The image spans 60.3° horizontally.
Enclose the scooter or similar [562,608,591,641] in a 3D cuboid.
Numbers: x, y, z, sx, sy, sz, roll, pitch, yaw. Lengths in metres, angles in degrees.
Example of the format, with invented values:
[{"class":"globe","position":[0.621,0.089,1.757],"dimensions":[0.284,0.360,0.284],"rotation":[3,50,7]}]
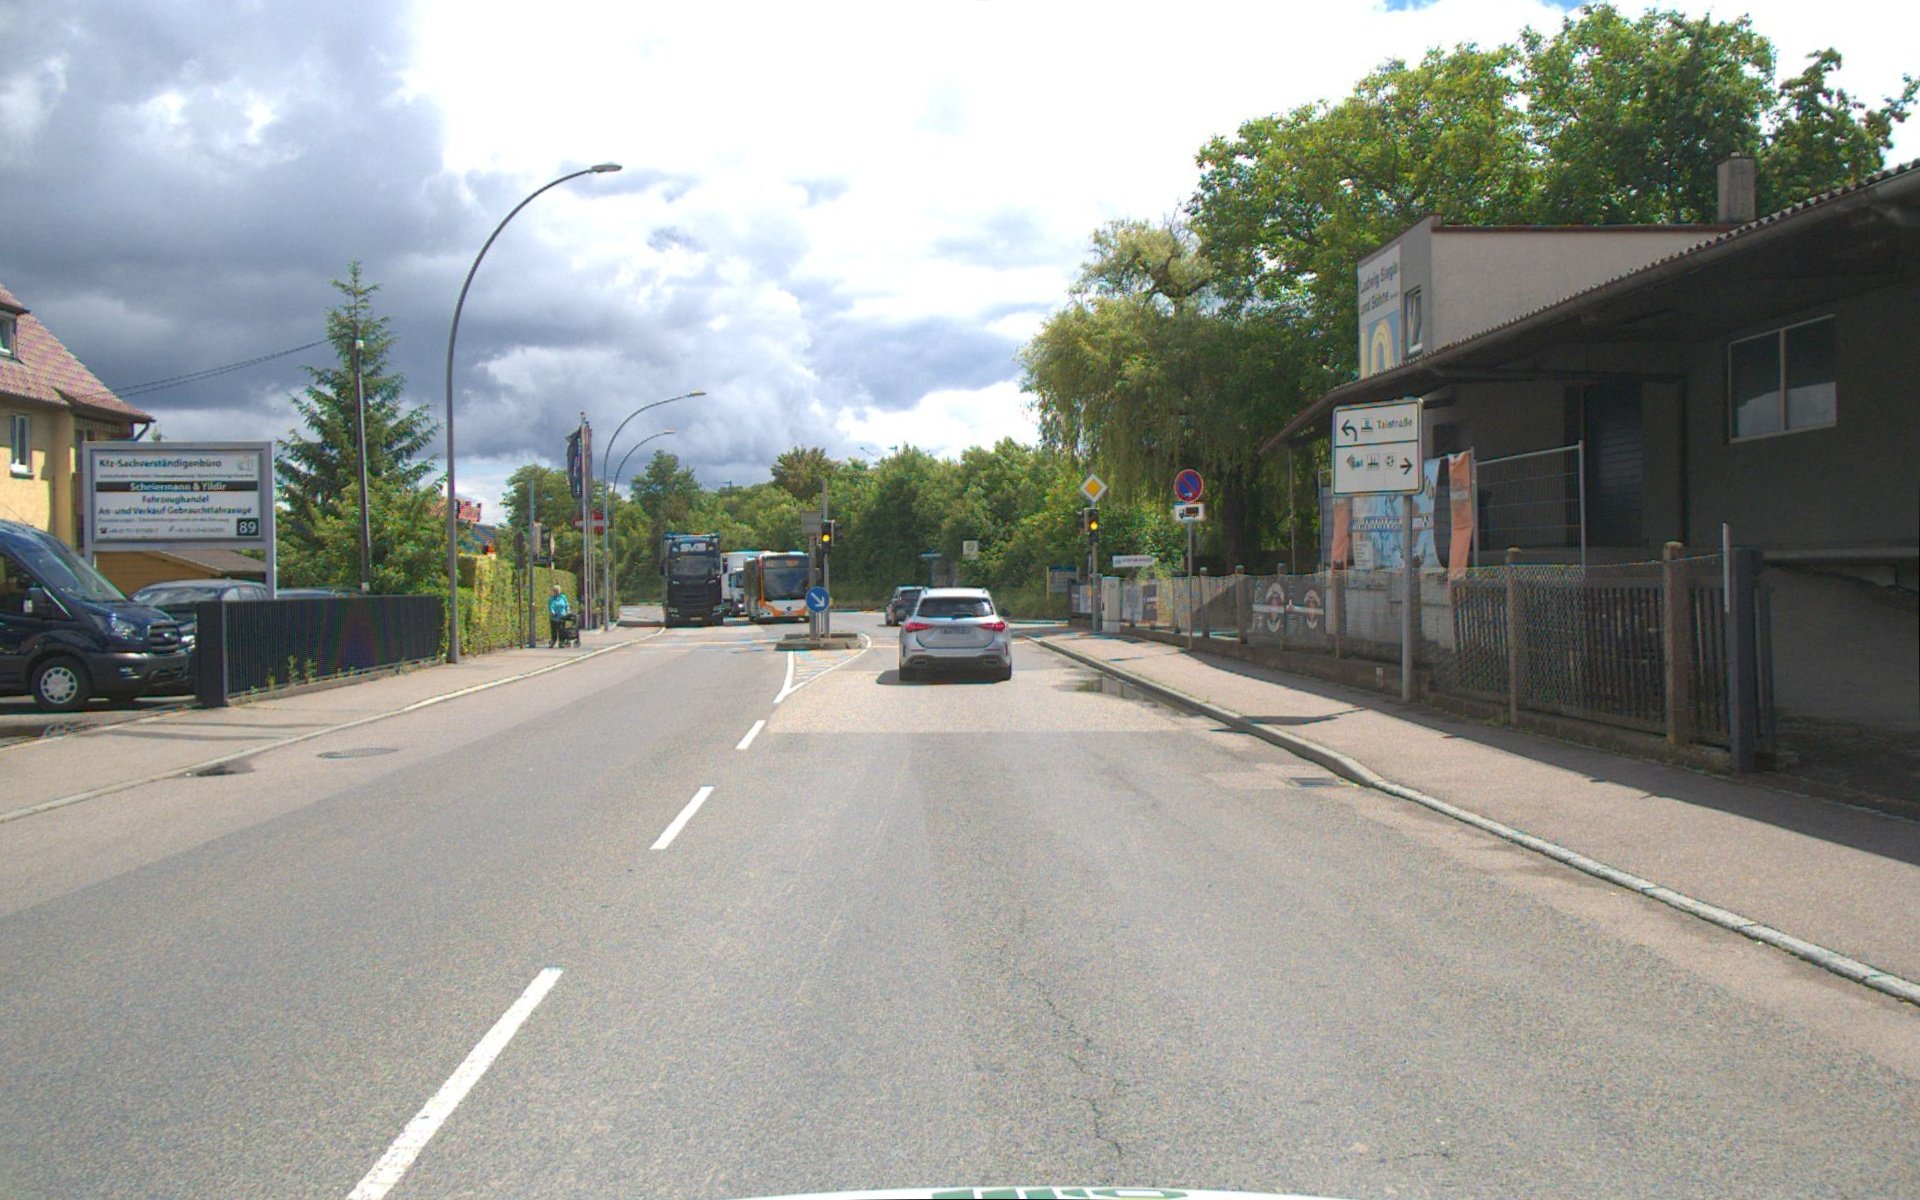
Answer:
[{"class":"scooter or similar","position":[-9.897,0.628,42.676],"dimensions":[0.599,0.846,0.659],"rotation":[1,1,-3]}]

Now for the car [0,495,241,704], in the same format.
[{"class":"car","position":[-12.944,0.017,21.646],"dimensions":[5.917,2.540,2.476],"rotation":[-1,1,-3]}]

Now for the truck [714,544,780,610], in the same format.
[{"class":"truck","position":[-12.472,-1.311,96.172],"dimensions":[2.791,3.602,9.691],"rotation":[-1,1,-13]}]

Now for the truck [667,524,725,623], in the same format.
[{"class":"truck","position":[-11.993,-1.162,75.483],"dimensions":[2.384,4.203,9.132],"rotation":[1,0,-8]}]

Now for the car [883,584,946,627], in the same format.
[{"class":"car","position":[-1.735,0.178,61.924],"dimensions":[1.850,1.534,3.992],"rotation":[-1,1,-9]}]

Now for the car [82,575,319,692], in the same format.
[{"class":"car","position":[-11.632,0.444,25.687],"dimensions":[1.992,1.622,4.279],"rotation":[-1,1,-6]}]

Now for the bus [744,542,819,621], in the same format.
[{"class":"bus","position":[-8.467,-0.863,77.202],"dimensions":[2.727,3.323,12.096],"rotation":[-2,1,-9]}]

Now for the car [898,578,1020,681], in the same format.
[{"class":"car","position":[-0.068,0.423,27.197],"dimensions":[1.846,1.534,3.999],"rotation":[-1,1,-2]}]

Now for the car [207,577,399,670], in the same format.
[{"class":"car","position":[-11.883,0.369,30.237],"dimensions":[2.112,1.533,4.263],"rotation":[-1,1,-6]}]

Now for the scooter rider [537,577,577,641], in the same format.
[{"class":"scooter rider","position":[-10.453,0.224,42.928],"dimensions":[0.860,1.617,0.796],"rotation":[-1,1,-3]}]
